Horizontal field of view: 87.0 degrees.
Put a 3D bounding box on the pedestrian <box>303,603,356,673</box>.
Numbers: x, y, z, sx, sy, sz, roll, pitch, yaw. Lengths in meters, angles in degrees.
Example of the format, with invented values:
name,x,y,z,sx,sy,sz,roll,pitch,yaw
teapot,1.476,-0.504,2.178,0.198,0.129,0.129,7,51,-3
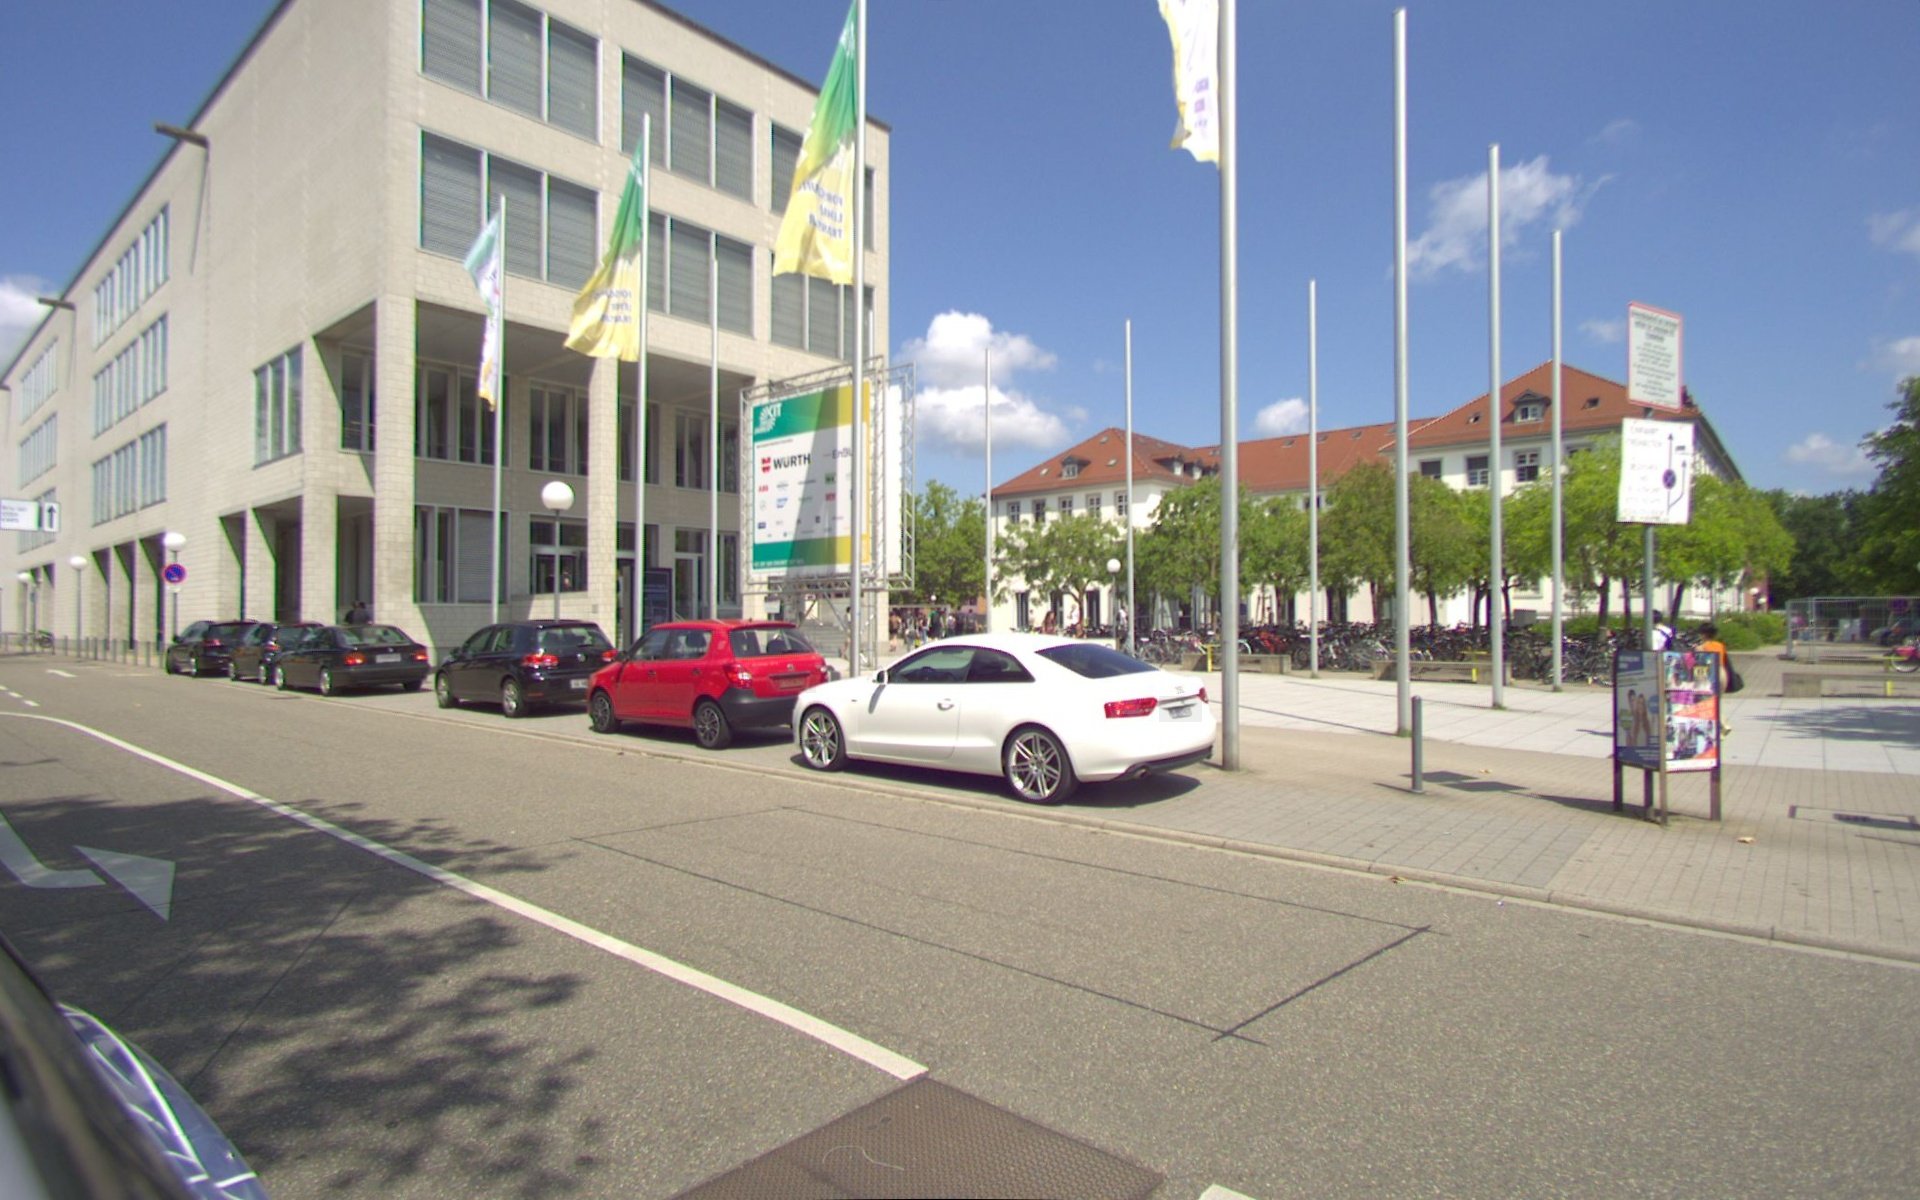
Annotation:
name,x,y,z,sx,sy,sz,roll,pitch,yaw
pedestrian,-18.664,1.111,29.975,1.163,2.029,0.975,-2,-2,37

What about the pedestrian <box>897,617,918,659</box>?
name,x,y,z,sx,sy,sz,roll,pitch,yaw
pedestrian,-2.533,1.816,48.562,0.875,2.000,0.841,0,-1,-13

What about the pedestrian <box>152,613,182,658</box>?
name,x,y,z,sx,sy,sz,roll,pitch,yaw
pedestrian,-36.445,1.624,46.505,1.065,2.029,0.839,-2,-2,39

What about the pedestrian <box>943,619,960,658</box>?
name,x,y,z,sx,sy,sz,roll,pitch,yaw
pedestrian,-0.455,2.054,53.668,0.752,2.029,0.735,-1,-1,8

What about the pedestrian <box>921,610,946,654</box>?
name,x,y,z,sx,sy,sz,roll,pitch,yaw
pedestrian,-1.111,1.336,42.417,0.737,1.787,0.750,-2,-2,39

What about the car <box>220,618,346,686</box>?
name,x,y,z,sx,sy,sz,roll,pitch,yaw
car,-16.523,1.227,24.641,3.705,1.478,1.622,-2,0,41

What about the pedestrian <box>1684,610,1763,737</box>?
name,x,y,z,sx,sy,sz,roll,pitch,yaw
pedestrian,10.421,0.978,13.809,0.746,1.664,0.834,-2,-2,43

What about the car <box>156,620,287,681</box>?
name,x,y,z,sx,sy,sz,roll,pitch,yaw
car,-20.060,1.321,27.412,4.716,1.478,1.840,-2,0,41

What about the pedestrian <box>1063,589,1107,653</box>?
name,x,y,z,sx,sy,sz,roll,pitch,yaw
pedestrian,3.851,0.649,31.175,0.943,1.955,0.975,-2,-2,38

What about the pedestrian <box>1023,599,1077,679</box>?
name,x,y,z,sx,sy,sz,roll,pitch,yaw
pedestrian,2.358,1.016,26.400,0.987,2.029,1.046,-2,-2,38

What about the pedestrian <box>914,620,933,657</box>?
name,x,y,z,sx,sy,sz,roll,pitch,yaw
pedestrian,-1.979,2.091,55.179,0.880,2.029,0.735,-1,-1,8

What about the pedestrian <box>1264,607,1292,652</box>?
name,x,y,z,sx,sy,sz,roll,pitch,yaw
pedestrian,16.097,1.498,51.196,1.040,2.217,1.010,-2,-3,40

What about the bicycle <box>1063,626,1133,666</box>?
name,x,y,z,sx,sy,sz,roll,pitch,yaw
bicycle,5.155,1.711,38.125,1.128,1.422,2.961,0,-1,-27

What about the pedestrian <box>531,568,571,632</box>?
name,x,y,z,sx,sy,sz,roll,pitch,yaw
pedestrian,-13.269,0.017,32.846,0.974,2.029,0.740,-1,-1,21

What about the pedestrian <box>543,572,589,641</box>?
name,x,y,z,sx,sy,sz,roll,pitch,yaw
pedestrian,-11.751,0.203,30.207,0.910,2.029,0.967,-1,-1,41

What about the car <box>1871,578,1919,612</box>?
name,x,y,z,sx,sy,sz,roll,pitch,yaw
car,58.590,-0.281,63.489,1.864,1.954,4.343,-2,-2,39

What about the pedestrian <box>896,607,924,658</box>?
name,x,y,z,sx,sy,sz,roll,pitch,yaw
pedestrian,-1.754,1.136,35.592,0.753,1.770,0.734,-1,-2,18

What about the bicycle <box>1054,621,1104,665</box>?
name,x,y,z,sx,sy,sz,roll,pitch,yaw
bicycle,4.102,1.443,34.615,1.139,1.422,2.933,-1,-1,18

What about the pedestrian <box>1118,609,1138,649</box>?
name,x,y,z,sx,sy,sz,roll,pitch,yaw
pedestrian,9.560,1.654,57.638,0.956,2.217,0.965,-1,-2,18

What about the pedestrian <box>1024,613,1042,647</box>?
name,x,y,z,sx,sy,sz,roll,pitch,yaw
pedestrian,4.431,1.822,61.258,0.875,2.029,0.738,0,-1,-12

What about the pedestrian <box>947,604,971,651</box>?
name,x,y,z,sx,sy,sz,roll,pitch,yaw
pedestrian,-0.052,1.208,44.347,0.748,2.029,0.739,0,-1,-33

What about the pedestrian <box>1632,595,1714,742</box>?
name,x,y,z,sx,sy,sz,roll,pitch,yaw
pedestrian,9.517,0.892,13.502,0.770,1.873,0.711,-2,-2,43

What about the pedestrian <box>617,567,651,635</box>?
name,x,y,z,sx,sy,sz,roll,pitch,yaw
pedestrian,-10.455,0.043,32.478,0.799,2.161,0.701,-1,-1,19

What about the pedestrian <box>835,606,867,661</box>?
name,x,y,z,sx,sy,sz,roll,pitch,yaw
pedestrian,-3.595,1.087,33.274,0.757,1.770,0.730,-1,-2,32

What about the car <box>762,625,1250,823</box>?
name,x,y,z,sx,sy,sz,roll,pitch,yaw
car,0.211,0.982,9.689,4.661,1.406,1.659,-2,0,42

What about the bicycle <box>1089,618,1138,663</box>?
name,x,y,z,sx,sy,sz,roll,pitch,yaw
bicycle,5.225,1.341,34.222,1.139,1.422,2.933,-1,-1,18

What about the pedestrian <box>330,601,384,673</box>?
name,x,y,z,sx,sy,sz,roll,pitch,yaw
pedestrian,-17.439,1.051,29.266,1.163,2.029,0.975,-2,-2,37

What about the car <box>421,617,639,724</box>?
name,x,y,z,sx,sy,sz,roll,pitch,yaw
car,-7.155,1.073,16.646,4.196,1.478,1.729,-2,0,43

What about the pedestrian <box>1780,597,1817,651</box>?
name,x,y,z,sx,sy,sz,roll,pitch,yaw
pedestrian,34.540,0.996,41.701,1.038,2.217,1.145,-2,-2,35

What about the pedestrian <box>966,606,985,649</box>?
name,x,y,z,sx,sy,sz,roll,pitch,yaw
pedestrian,0.688,1.220,44.972,0.752,1.851,0.699,-1,-1,7

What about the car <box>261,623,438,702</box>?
name,x,y,z,sx,sy,sz,roll,pitch,yaw
car,-12.830,1.219,21.124,5.016,1.388,1.839,-2,0,43

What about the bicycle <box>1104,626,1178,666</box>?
name,x,y,z,sx,sy,sz,roll,pitch,yaw
bicycle,6.723,1.690,37.748,1.128,1.422,2.961,0,-1,-27

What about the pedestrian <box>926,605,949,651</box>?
name,x,y,z,sx,sy,sz,roll,pitch,yaw
pedestrian,-0.996,1.218,44.438,0.748,2.029,0.739,0,-1,-33

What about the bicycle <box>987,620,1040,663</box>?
name,x,y,z,sx,sy,sz,roll,pitch,yaw
bicycle,1.902,1.420,35.440,1.139,1.422,2.933,-1,-1,18

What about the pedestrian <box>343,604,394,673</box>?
name,x,y,z,sx,sy,sz,roll,pitch,yaw
pedestrian,-18.015,1.165,30.833,1.163,2.029,0.975,-2,-2,37

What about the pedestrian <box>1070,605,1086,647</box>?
name,x,y,z,sx,sy,sz,roll,pitch,yaw
pedestrian,5.840,1.280,50.250,0.752,2.029,0.735,-1,-1,8

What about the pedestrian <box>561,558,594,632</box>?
name,x,y,z,sx,sy,sz,roll,pitch,yaw
pedestrian,-12.695,-0.157,33.627,0.731,2.440,0.756,-1,-2,15

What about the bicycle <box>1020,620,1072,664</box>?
name,x,y,z,sx,sy,sz,roll,pitch,yaw
bicycle,2.996,1.432,35.029,1.139,1.422,2.933,-1,-1,18

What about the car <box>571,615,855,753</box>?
name,x,y,z,sx,sy,sz,roll,pitch,yaw
car,-3.318,0.987,13.183,3.909,1.478,1.659,-2,0,42

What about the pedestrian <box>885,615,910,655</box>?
name,x,y,z,sx,sy,sz,roll,pitch,yaw
pedestrian,-2.612,1.461,42.056,0.722,1.626,0.737,0,-1,-45

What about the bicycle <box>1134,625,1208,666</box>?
name,x,y,z,sx,sy,sz,roll,pitch,yaw
bicycle,7.899,1.683,38.081,1.128,1.422,2.961,0,-1,-27

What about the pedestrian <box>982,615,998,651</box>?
name,x,y,z,sx,sy,sz,roll,pitch,yaw
pedestrian,1.812,2.023,61.854,0.880,2.159,0.735,-1,-1,8

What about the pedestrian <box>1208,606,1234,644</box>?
name,x,y,z,sx,sy,sz,roll,pitch,yaw
pedestrian,14.212,1.362,55.132,1.043,2.029,0.923,1,-2,-40

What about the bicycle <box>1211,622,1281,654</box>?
name,x,y,z,sx,sy,sz,roll,pitch,yaw
bicycle,13.133,1.726,46.508,1.130,1.422,2.955,0,-1,-41
